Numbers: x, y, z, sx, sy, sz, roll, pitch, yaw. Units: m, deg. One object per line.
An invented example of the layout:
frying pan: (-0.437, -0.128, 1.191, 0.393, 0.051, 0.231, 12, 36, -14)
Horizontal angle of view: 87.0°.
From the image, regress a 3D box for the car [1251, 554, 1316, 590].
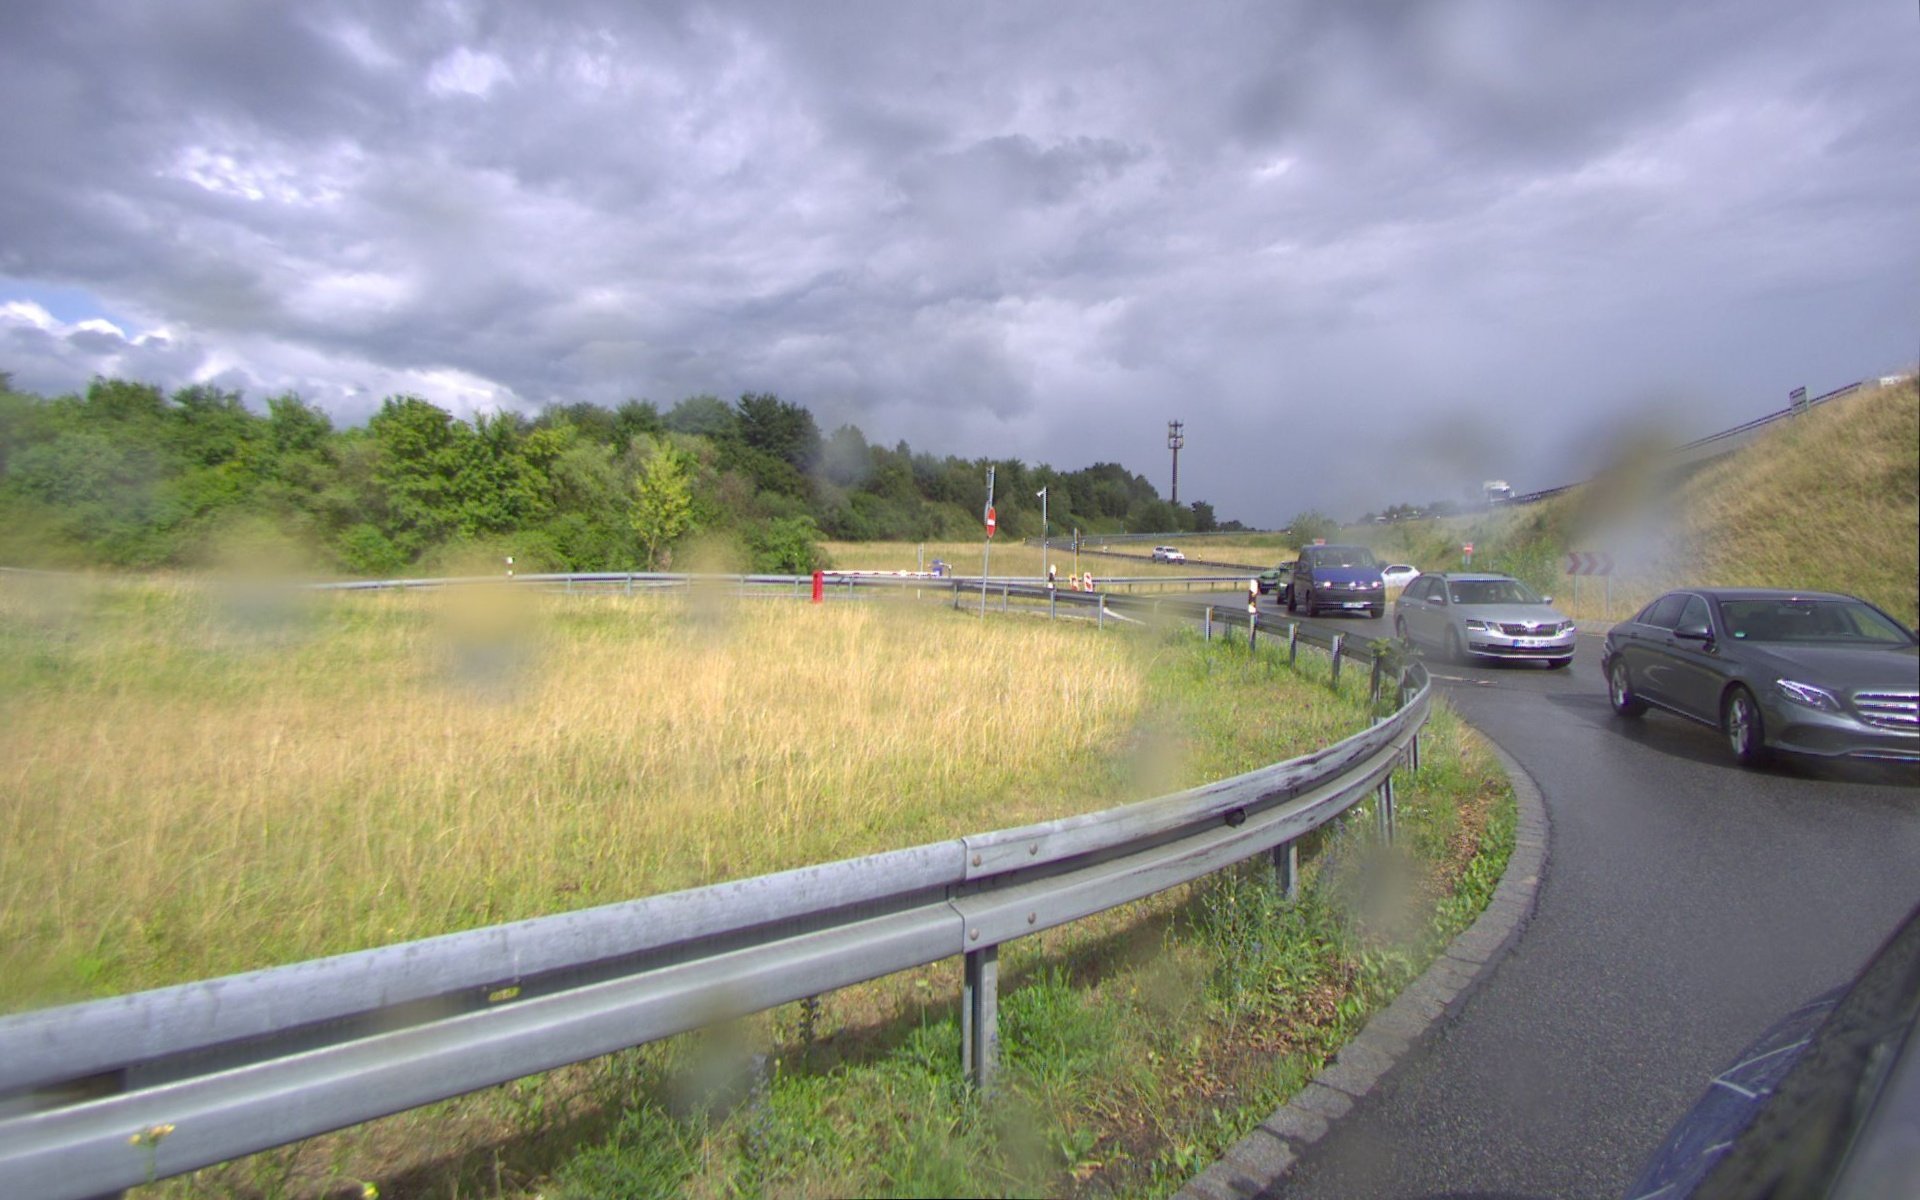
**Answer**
car: (14.504, -1.295, 45.337, 1.609, 1.492, 3.796, 3, 4, 37)

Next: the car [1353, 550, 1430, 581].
car: (21.671, -1.739, 50.812, 3.769, 1.492, 1.621, -1, 3, -30)

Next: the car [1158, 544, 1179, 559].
car: (19.656, -4.581, 95.469, 1.683, 1.305, 3.768, 1, 3, 8)

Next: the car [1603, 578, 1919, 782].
car: (7.785, 0.542, 9.487, 1.747, 1.408, 4.568, 1, 2, 17)

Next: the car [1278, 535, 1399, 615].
car: (10.396, -0.812, 28.249, 1.861, 1.937, 5.675, 1, 4, 7)

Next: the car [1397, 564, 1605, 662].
car: (8.965, 0.123, 17.210, 1.769, 1.415, 4.339, 0, 2, 9)

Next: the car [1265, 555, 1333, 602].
car: (11.568, -0.789, 34.716, 1.631, 1.492, 3.837, 1, 3, 10)

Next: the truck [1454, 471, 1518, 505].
truck: (59.938, -12.732, 115.578, 3.106, 3.233, 9.271, -1, 3, 5)
